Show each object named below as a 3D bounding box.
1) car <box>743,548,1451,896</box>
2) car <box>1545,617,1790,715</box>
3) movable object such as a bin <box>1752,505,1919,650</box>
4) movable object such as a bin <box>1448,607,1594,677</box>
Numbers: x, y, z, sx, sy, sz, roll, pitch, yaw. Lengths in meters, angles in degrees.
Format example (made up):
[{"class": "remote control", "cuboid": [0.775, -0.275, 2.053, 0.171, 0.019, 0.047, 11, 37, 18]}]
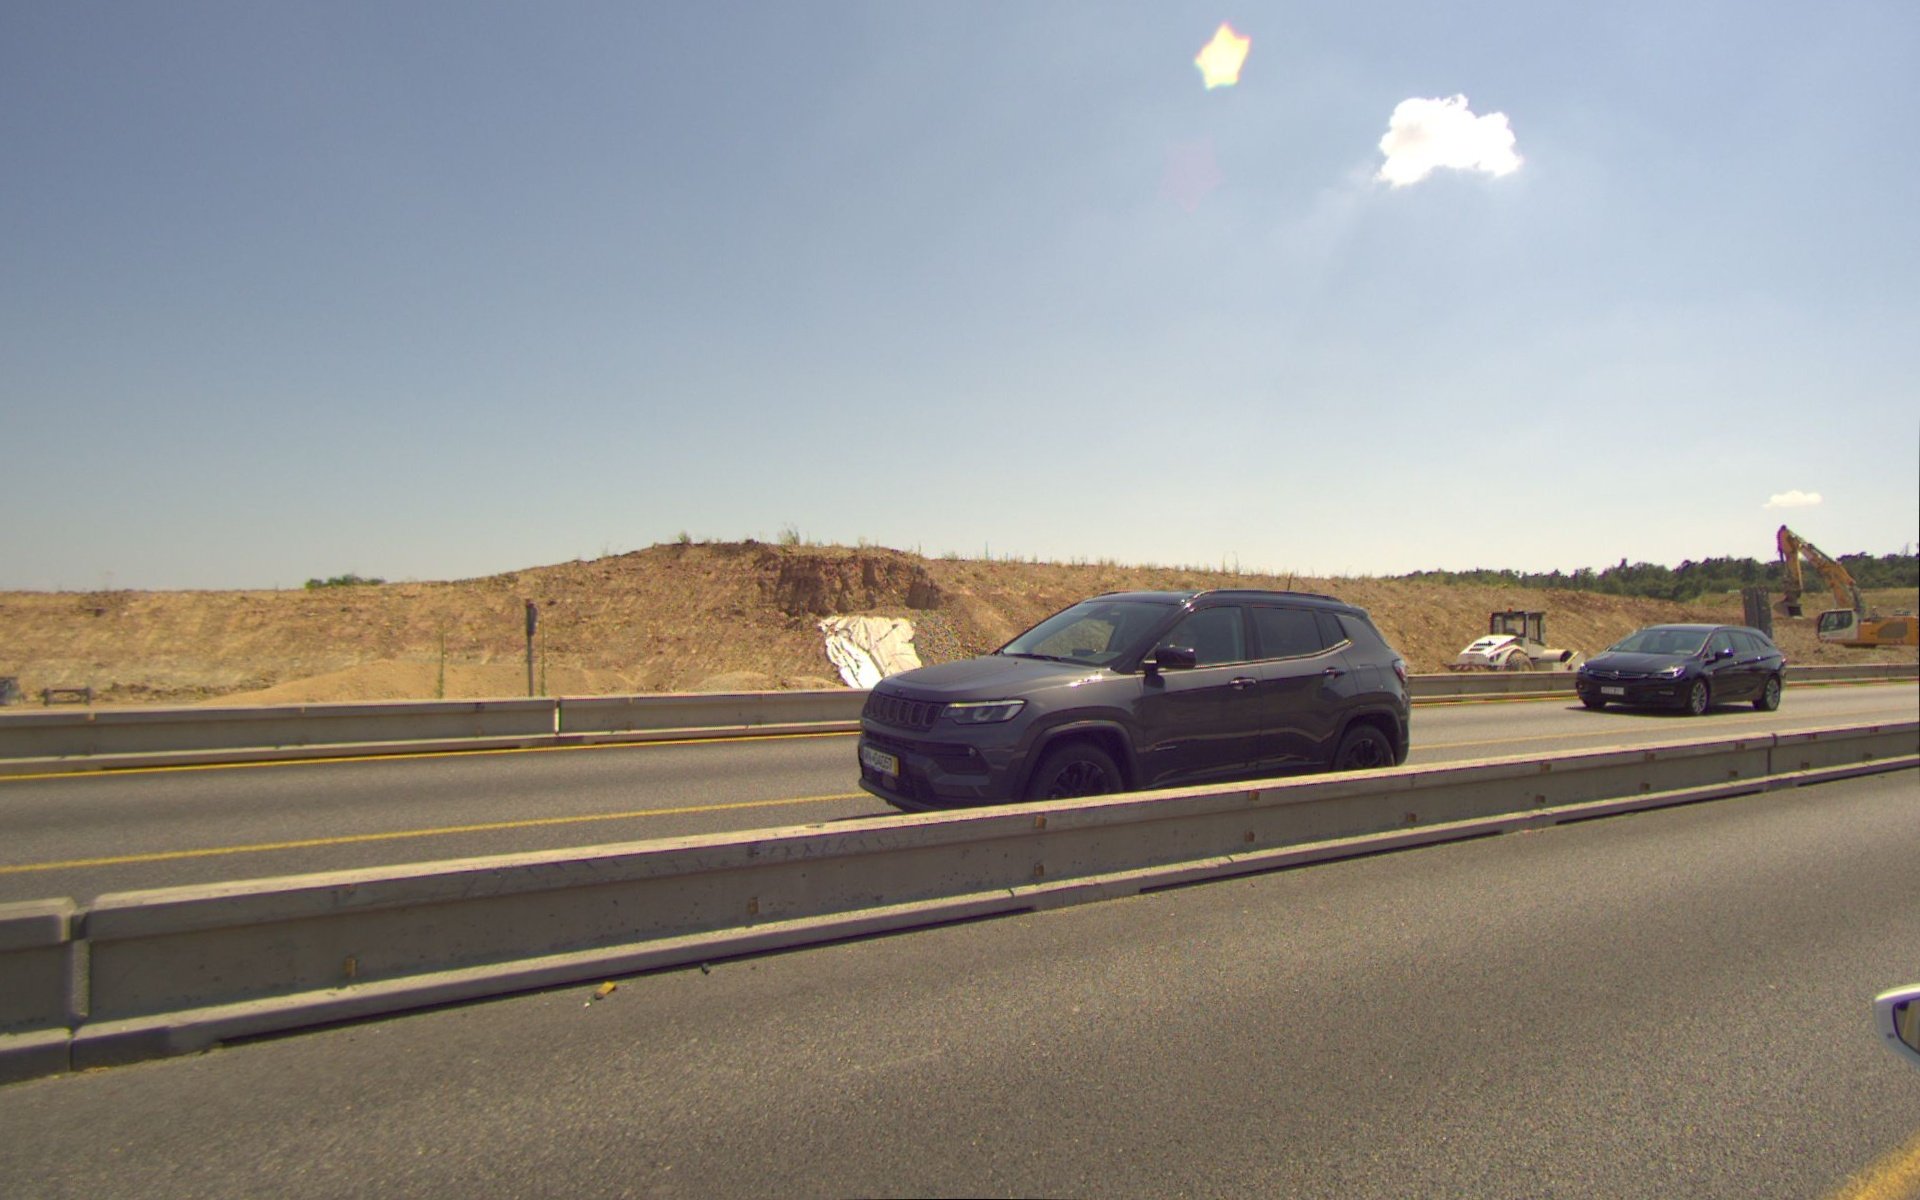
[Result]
[{"class": "car", "cuboid": [1.150, 0.681, 7.137, 4.979, 1.764, 1.763, 1, -1, -30]}, {"class": "car", "cuboid": [12.513, 1.095, 17.712, 4.522, 1.520, 1.852, 1, -1, -30]}, {"class": "movable object such as a bin", "cuboid": [51.242, -1.132, 58.339, 3.402, 7.816, 7.607, 1, -1, -28]}, {"class": "movable object such as a bin", "cuboid": [21.315, 1.561, 38.048, 6.665, 2.493, 1.693, 1, -1, -30]}]
